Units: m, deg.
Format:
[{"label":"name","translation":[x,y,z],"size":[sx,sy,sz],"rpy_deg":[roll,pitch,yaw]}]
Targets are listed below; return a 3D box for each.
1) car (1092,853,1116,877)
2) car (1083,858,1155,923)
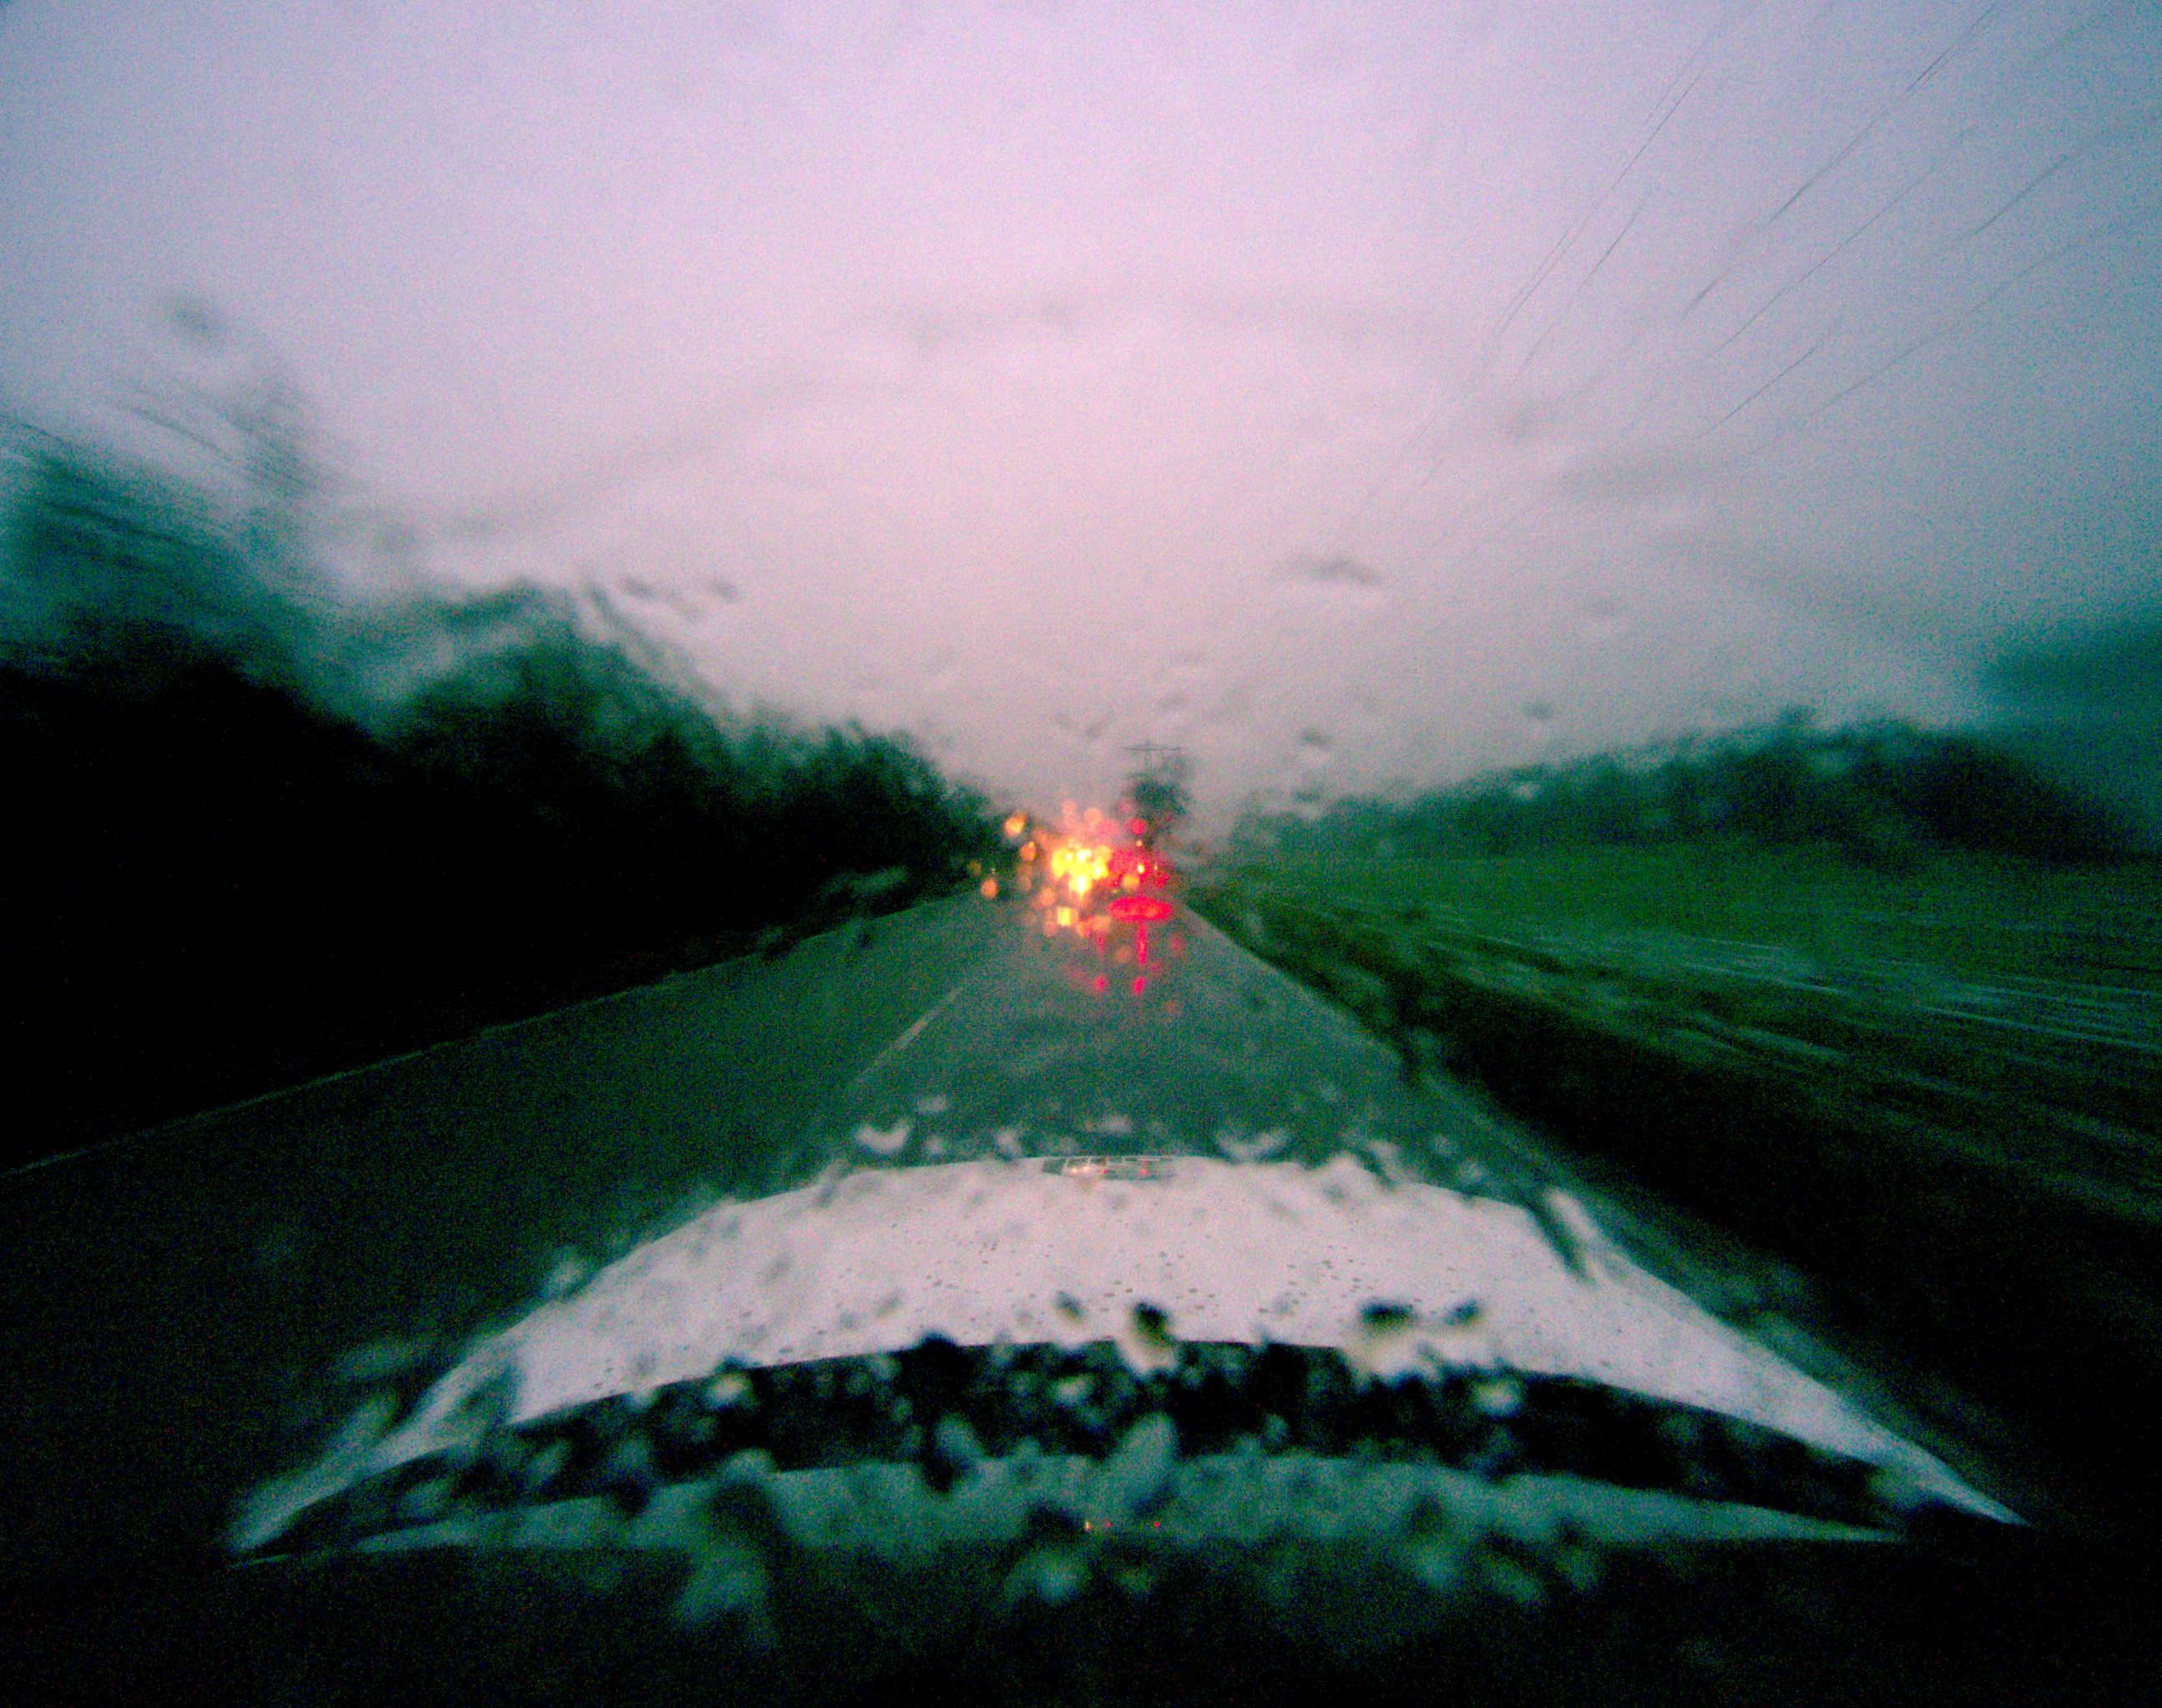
[{"label":"car","translation":[2.009,0.932,71.357],"size":[1.987,2.013,4.000],"rpy_deg":[-2,0,0]},{"label":"car","translation":[1.116,1.043,24.940],"size":[1.986,1.752,4.001],"rpy_deg":[-1,0,1]}]
